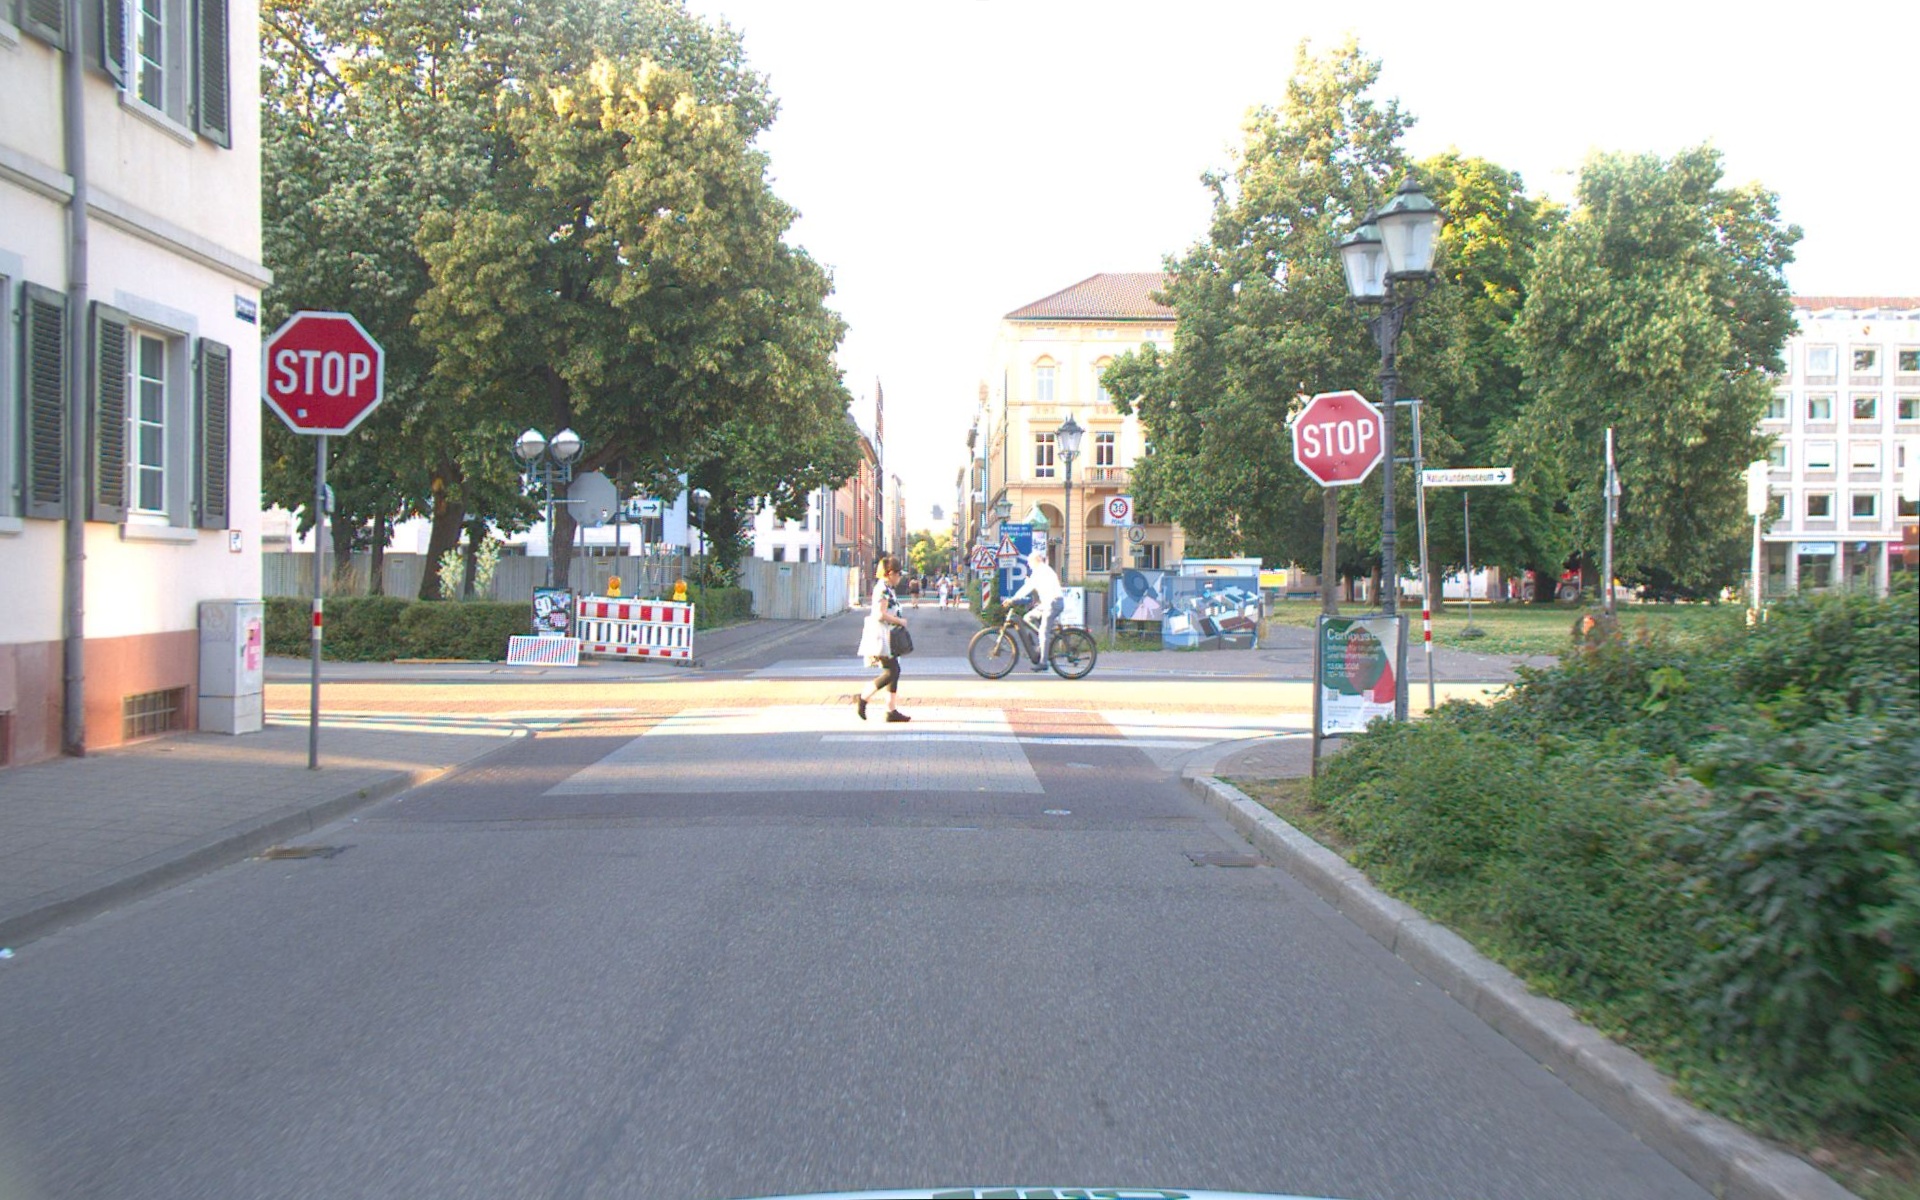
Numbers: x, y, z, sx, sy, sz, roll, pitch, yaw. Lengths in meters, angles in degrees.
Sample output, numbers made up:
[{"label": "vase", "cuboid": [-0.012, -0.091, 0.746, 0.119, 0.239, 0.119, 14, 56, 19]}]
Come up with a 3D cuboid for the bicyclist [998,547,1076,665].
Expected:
[{"label": "bicyclist", "cuboid": [1.100, 0.079, 23.683, 1.040, 1.661, 0.595, 0, 1, -8]}]

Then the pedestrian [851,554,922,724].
[{"label": "pedestrian", "cuboid": [-0.756, 0.391, 17.228, 0.719, 1.719, 0.836, 0, 0, -2]}]

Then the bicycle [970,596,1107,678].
[{"label": "bicycle", "cuboid": [1.120, 0.516, 23.672, 1.891, 1.141, 0.595, 0, 1, -8]}]

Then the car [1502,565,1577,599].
[{"label": "car", "cuboid": [35.602, -1.137, 101.627, 3.949, 2.049, 2.000, 0, 1, 0]}]

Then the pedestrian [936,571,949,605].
[{"label": "pedestrian", "cuboid": [-0.853, -0.603, 81.640, 0.644, 1.645, 0.745, 0, 1, -1]}]

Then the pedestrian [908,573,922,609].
[{"label": "pedestrian", "cuboid": [-2.246, -0.477, 82.858, 0.644, 1.790, 0.745, 0, 1, -1]}]

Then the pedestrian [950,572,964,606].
[{"label": "pedestrian", "cuboid": [-0.143, -0.552, 81.735, 0.644, 1.645, 0.745, 0, 1, -1]}]

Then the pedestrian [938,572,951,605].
[{"label": "pedestrian", "cuboid": [-0.774, -0.579, 83.319, 0.644, 1.664, 0.745, 0, 1, -1]}]
